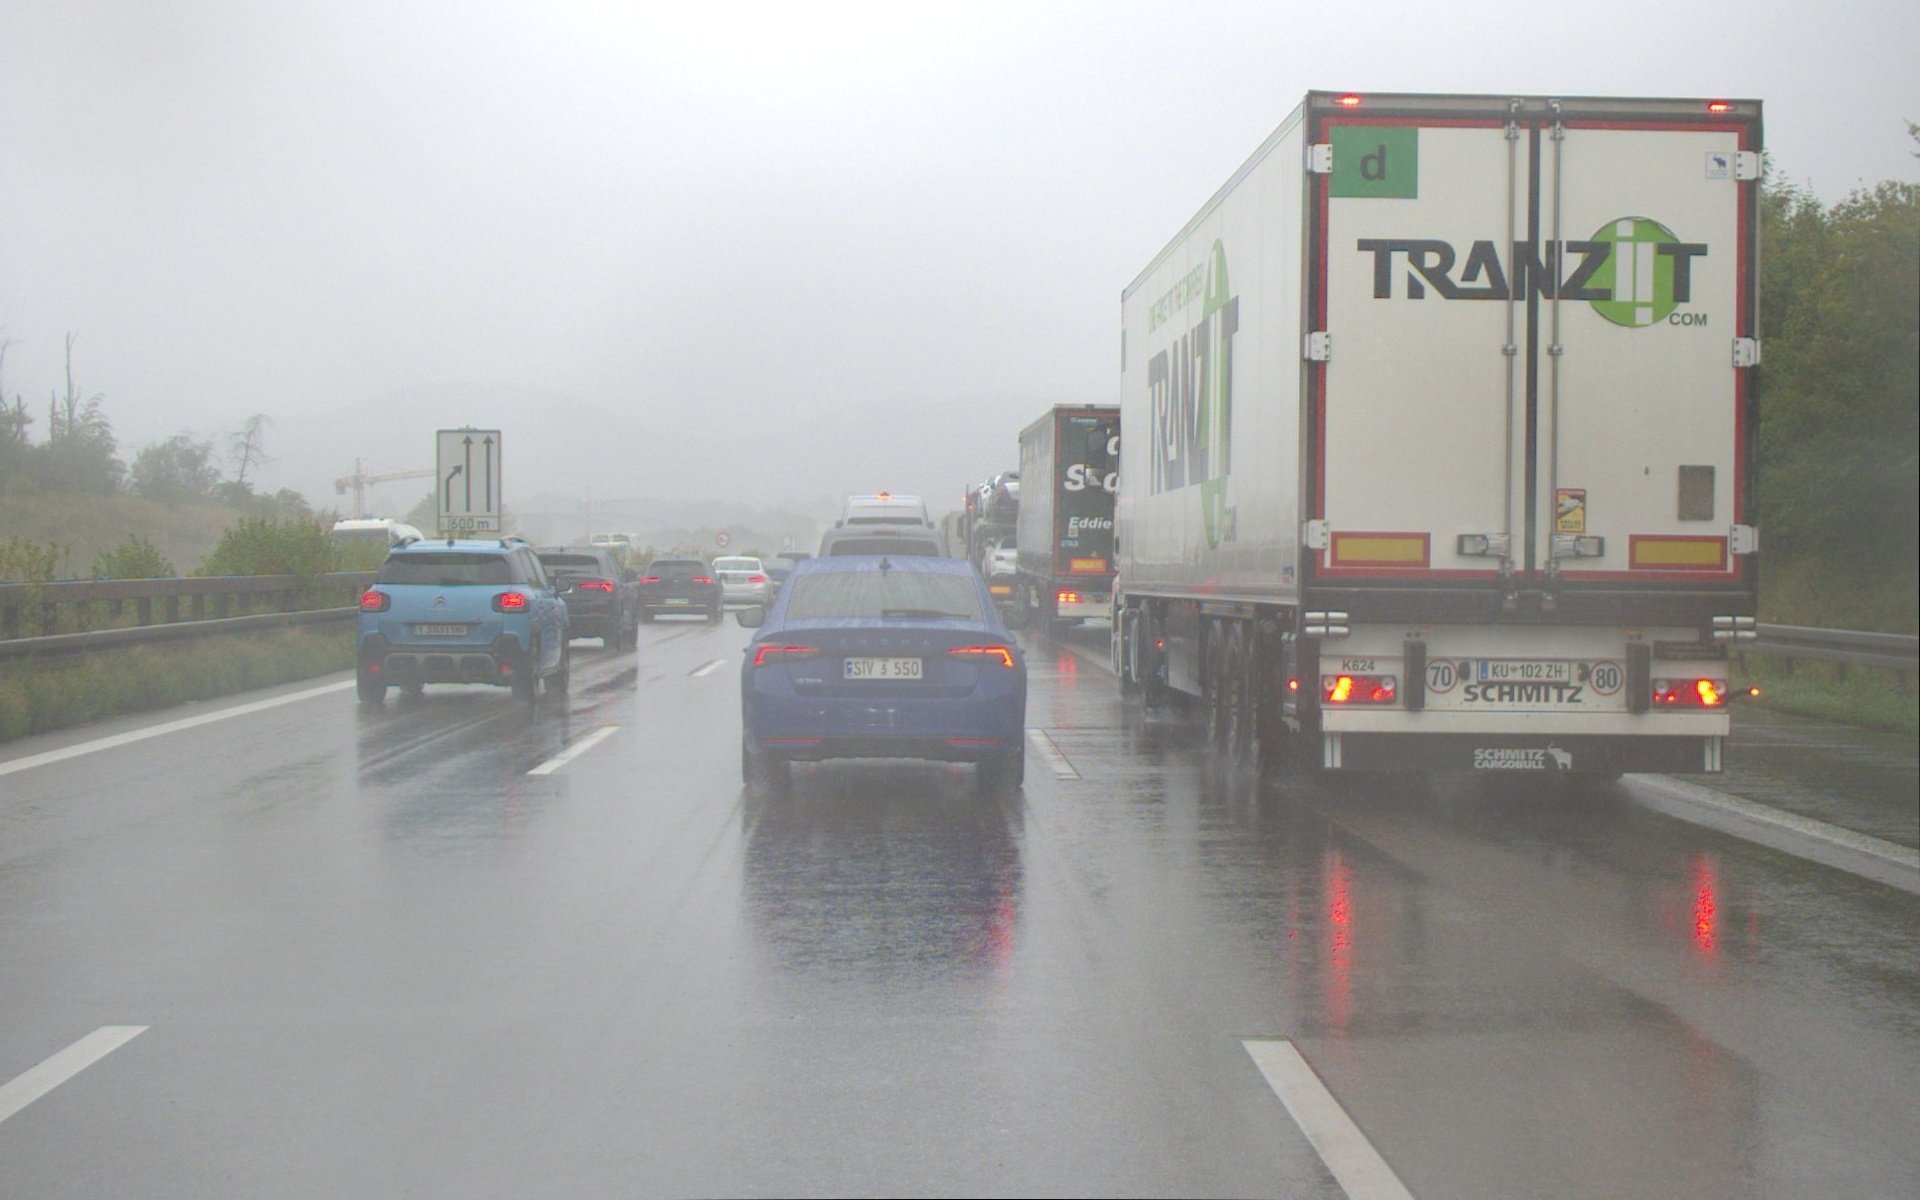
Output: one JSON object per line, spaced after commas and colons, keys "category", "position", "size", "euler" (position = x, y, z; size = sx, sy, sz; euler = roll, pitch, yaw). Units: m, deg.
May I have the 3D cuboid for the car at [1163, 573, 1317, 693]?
{"category": "car", "position": [3.195, 0.349, 39.689], "size": [1.423, 1.284, 3.461], "euler": [0, 1, -1]}

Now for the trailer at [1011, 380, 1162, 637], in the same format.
{"category": "trailer", "position": [2.133, -1.588, 61.465], "size": [2.047, 4.162, 11.449], "euler": [0, 1, -1]}

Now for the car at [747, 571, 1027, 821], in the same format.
{"category": "car", "position": [-0.440, 0.548, 22.185], "size": [1.635, 1.440, 4.000], "euler": [0, 1, 0]}

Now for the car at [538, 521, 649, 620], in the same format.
{"category": "car", "position": [-5.476, -0.462, 51.639], "size": [1.359, 1.426, 3.364], "euler": [0, 1, -1]}

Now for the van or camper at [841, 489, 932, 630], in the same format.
{"category": "van or camper", "position": [-1.513, -0.853, 70.729], "size": [1.797, 2.797, 4.768], "euler": [0, 1, -1]}

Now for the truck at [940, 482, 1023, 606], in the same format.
{"category": "truck", "position": [0.574, -1.649, 98.919], "size": [1.993, 3.410, 8.033], "euler": [0, 1, -2]}

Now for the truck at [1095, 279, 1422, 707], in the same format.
{"category": "truck", "position": [2.764, -0.997, 33.142], "size": [2.630, 3.814, 4.791], "euler": [0, 1, -1]}

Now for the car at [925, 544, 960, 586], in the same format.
{"category": "car", "position": [-0.753, -1.506, 147.048], "size": [1.448, 1.777, 3.409], "euler": [1, 0, -1]}

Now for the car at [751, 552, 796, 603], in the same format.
{"category": "car", "position": [-6.642, -0.802, 122.641], "size": [1.448, 1.777, 3.409], "euler": [1, 0, -1]}

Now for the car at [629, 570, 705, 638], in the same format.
{"category": "car", "position": [-6.384, 0.072, 75.085], "size": [1.439, 1.415, 3.322], "euler": [0, 1, -1]}

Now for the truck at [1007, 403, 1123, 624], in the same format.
{"category": "truck", "position": [2.025, -1.675, 67.186], "size": [2.047, 4.178, 4.000], "euler": [0, 1, -1]}

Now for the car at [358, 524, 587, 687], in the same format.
{"category": "car", "position": [-4.796, 0.026, 34.287], "size": [1.721, 1.518, 4.000], "euler": [0, 1, 0]}

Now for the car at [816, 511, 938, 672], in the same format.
{"category": "car", "position": [-0.952, -0.127, 39.694], "size": [1.336, 1.774, 3.322], "euler": [0, 1, -1]}

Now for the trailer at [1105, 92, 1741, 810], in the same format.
{"category": "trailer", "position": [2.899, -0.966, 26.539], "size": [2.630, 3.999, 14.630], "euler": [0, 1, -1]}

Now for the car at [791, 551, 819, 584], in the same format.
{"category": "car", "position": [-8.441, -1.786, 187.360], "size": [1.448, 1.777, 3.409], "euler": [1, 0, -1]}

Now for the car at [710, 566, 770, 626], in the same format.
{"category": "car", "position": [-5.820, -0.109, 91.364], "size": [1.439, 1.528, 3.322], "euler": [0, 1, -1]}

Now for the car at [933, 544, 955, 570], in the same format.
{"category": "car", "position": [-1.080, -2.924, 235.348], "size": [1.448, 1.777, 3.409], "euler": [1, 0, -1]}
